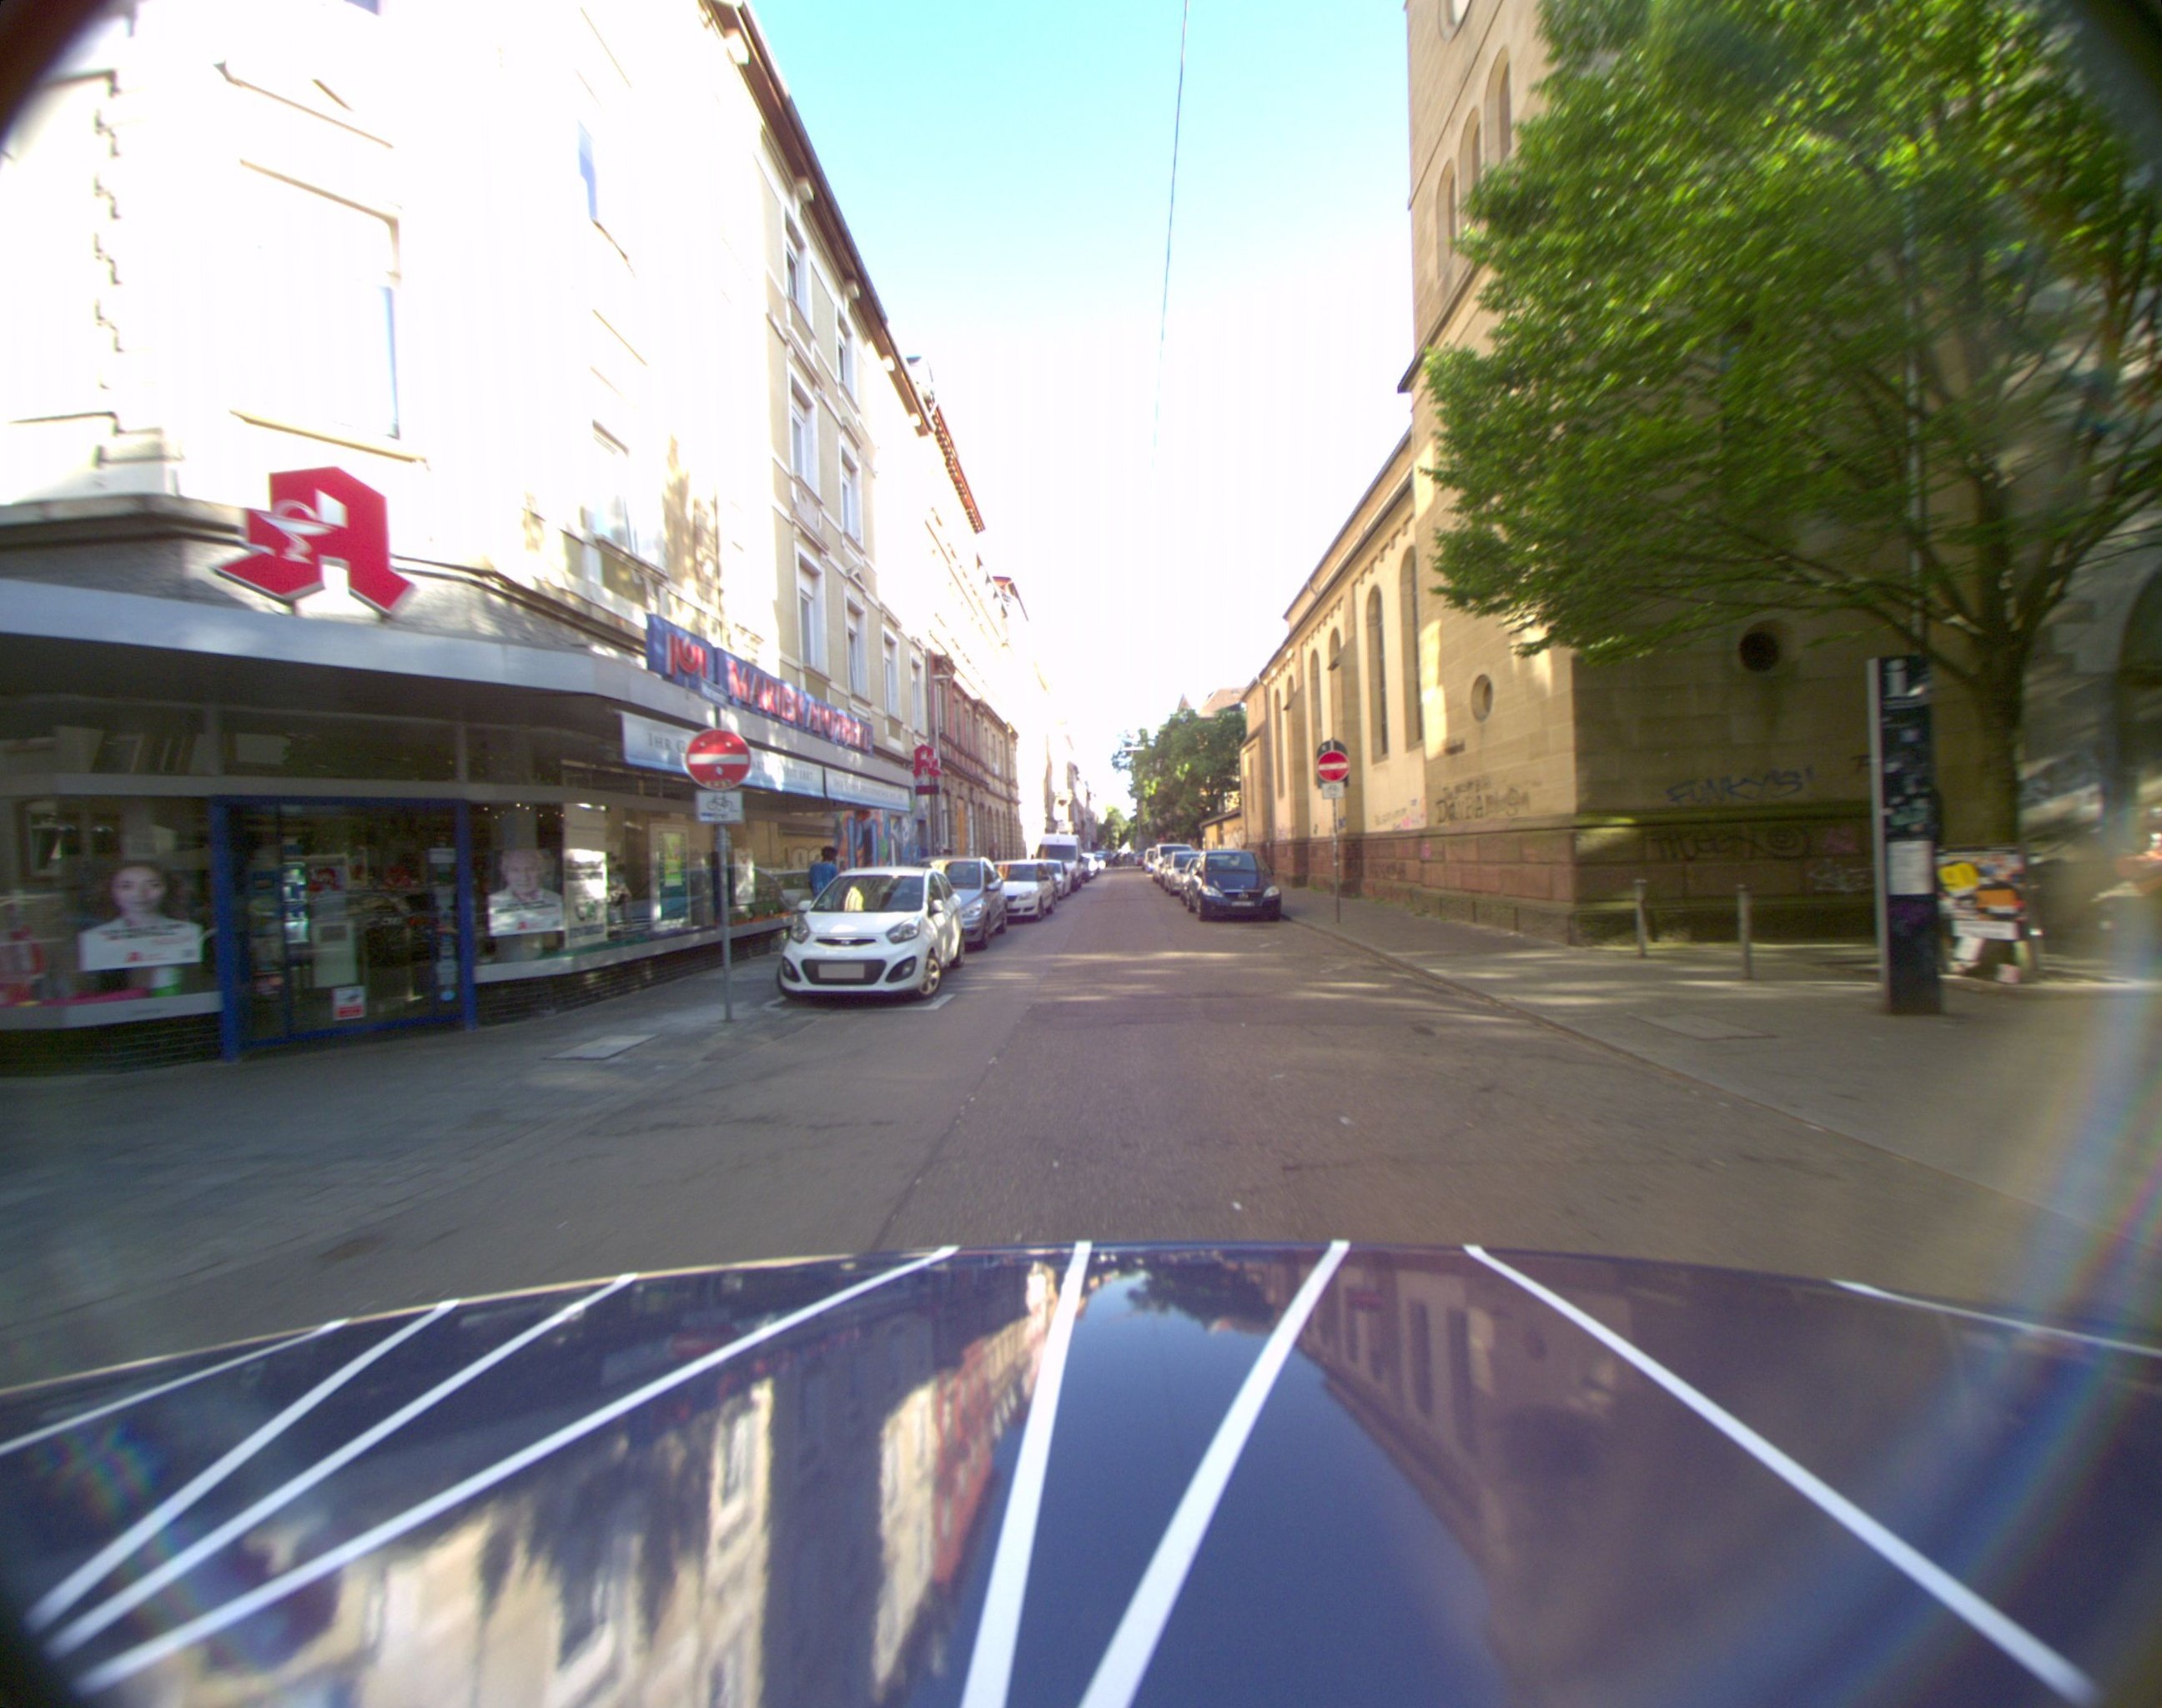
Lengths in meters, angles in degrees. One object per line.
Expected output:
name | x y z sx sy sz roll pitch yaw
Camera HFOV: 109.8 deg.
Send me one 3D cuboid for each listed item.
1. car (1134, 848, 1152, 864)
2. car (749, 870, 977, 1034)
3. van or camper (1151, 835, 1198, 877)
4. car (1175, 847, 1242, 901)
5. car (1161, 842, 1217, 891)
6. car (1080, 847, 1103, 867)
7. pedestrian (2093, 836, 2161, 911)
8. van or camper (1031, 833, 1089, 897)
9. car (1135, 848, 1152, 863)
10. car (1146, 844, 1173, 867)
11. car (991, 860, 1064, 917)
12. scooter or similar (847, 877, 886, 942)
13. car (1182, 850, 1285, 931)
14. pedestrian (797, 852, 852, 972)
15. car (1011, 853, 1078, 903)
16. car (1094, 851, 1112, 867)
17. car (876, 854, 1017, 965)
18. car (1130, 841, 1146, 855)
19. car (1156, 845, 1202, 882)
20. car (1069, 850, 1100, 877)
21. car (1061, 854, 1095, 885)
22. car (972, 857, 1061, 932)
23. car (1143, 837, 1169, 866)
car | 6.831 0.245 84.265 1.777 1.614 4.023 -3 0 2
car | -2.466 1.038 9.565 1.693 1.454 3.640 -4 1 1
van or camper | 4.720 0.076 38.936 1.983 1.940 4.564 -3 0 4
car | 3.778 0.551 23.076 1.576 1.356 4.147 -4 1 5
car | 3.928 0.399 28.160 1.724 1.558 4.000 -4 1 4
car | 0.966 0.233 65.943 1.695 1.615 3.964 -3 0 4
pedestrian | 11.947 0.197 7.901 0.959 0.756 1.407 -4 1 3
van or camper | -0.855 0.428 35.462 1.998 2.617 5.980 -4 1 4
car | 7.340 0.203 89.187 1.777 1.614 4.023 -3 0 2
car | 5.650 0.112 55.170 1.695 1.529 3.814 -3 0 4
car | -1.614 1.038 24.322 1.590 1.478 3.913 -4 1 6
scooter or similar | -4.535 1.162 16.125 0.396 1.272 1.037 -4 1 3
car | 3.443 0.751 17.834 1.798 1.543 3.834 -4 1 4
pedestrian | -4.169 0.927 12.371 0.563 1.883 0.530 -4 1 3
car | -1.336 0.865 29.621 1.998 1.637 4.564 -4 1 4
car | 2.361 0.508 80.962 1.695 1.615 3.964 -3 0 4
car | -2.358 0.898 14.379 1.704 1.641 4.064 -4 1 2
car | 7.088 -0.729 95.490 1.777 1.614 4.023 -3 0 2
car | 4.263 0.392 33.448 1.695 1.472 3.737 -3 0 4
car | 0.276 0.580 49.701 1.695 1.615 3.964 -3 0 4
car | -0.129 0.857 44.412 1.695 1.615 3.814 -3 0 4
car | -1.530 0.931 19.366 1.558 1.518 4.201 -4 1 4
car | 5.938 -0.191 60.573 1.776 2.128 4.023 -3 0 4
